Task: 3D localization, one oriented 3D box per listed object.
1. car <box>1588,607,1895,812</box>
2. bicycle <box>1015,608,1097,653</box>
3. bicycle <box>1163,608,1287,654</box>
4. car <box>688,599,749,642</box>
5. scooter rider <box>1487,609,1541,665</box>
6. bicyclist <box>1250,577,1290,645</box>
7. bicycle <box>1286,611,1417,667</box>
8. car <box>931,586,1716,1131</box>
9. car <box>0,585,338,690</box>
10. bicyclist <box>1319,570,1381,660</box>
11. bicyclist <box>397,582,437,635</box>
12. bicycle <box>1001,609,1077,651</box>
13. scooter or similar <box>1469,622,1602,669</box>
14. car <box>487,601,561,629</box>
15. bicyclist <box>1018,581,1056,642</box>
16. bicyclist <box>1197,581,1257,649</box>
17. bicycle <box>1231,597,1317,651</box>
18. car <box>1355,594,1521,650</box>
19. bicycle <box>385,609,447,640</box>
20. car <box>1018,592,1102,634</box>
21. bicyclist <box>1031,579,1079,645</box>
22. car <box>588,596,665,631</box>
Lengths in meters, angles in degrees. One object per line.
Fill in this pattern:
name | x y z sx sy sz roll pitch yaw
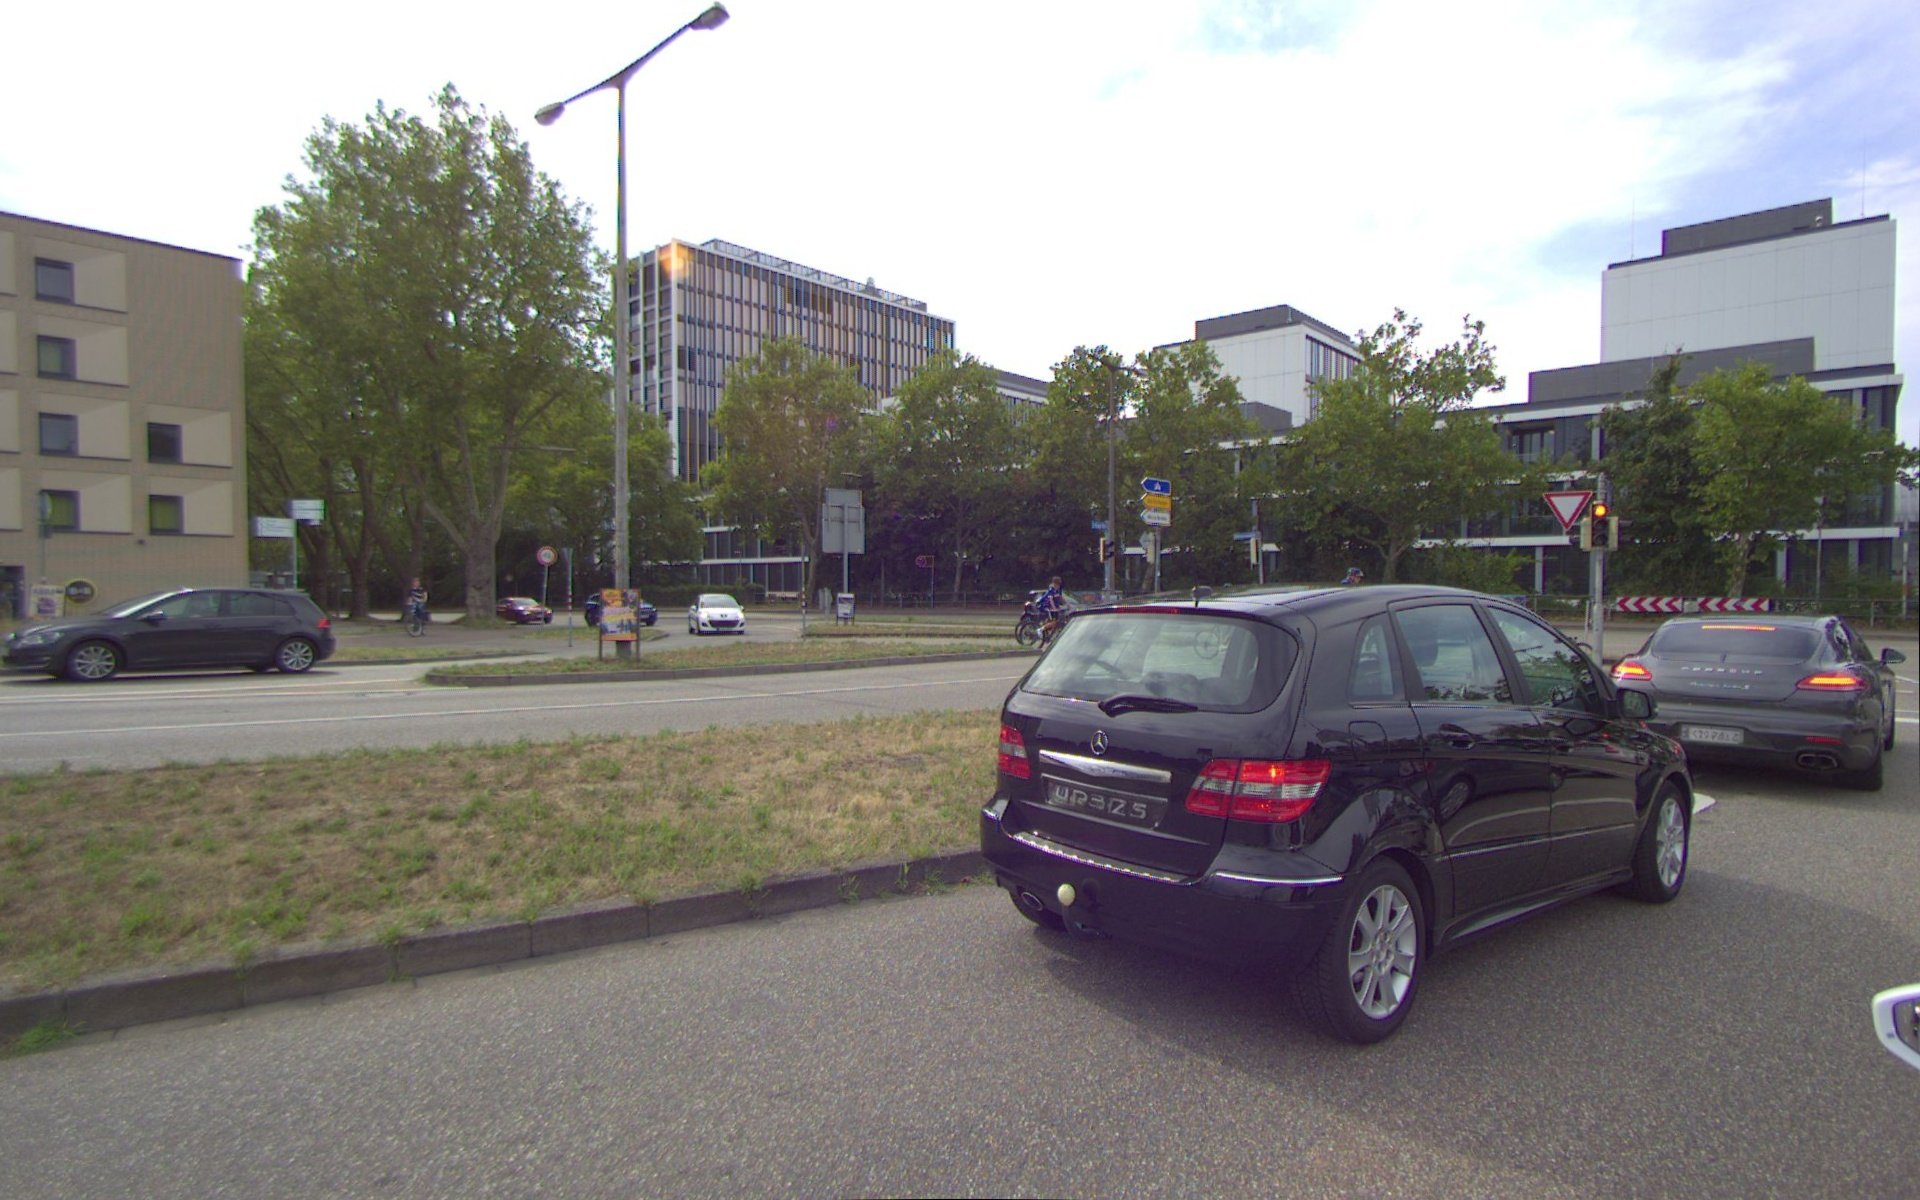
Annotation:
car | 7.712 0.821 9.702 1.800 1.433 4.746 2 1 44
bicycle | 2.302 0.718 24.116 1.871 1.027 0.628 1 1 25
bicycle | 5.748 0.644 21.887 2.551 0.902 0.702 1 1 38
car | -9.019 0.731 37.342 1.705 1.464 3.858 1 0 -21
scooter rider | 11.781 0.771 21.361 0.902 1.152 0.806 1 1 36
bicyclist | 7.510 0.258 24.331 0.768 1.602 0.653 1 1 32
bicycle | 7.512 0.721 19.346 2.203 0.965 0.807 1 0 42
car | 1.973 0.740 4.893 4.000 1.596 1.743 -1 2 -38
car | -12.506 0.528 16.067 1.767 1.438 3.990 1 0 33
bicyclist | 7.517 0.278 19.340 0.871 1.678 0.807 1 1 42
bicyclist | -17.233 0.259 31.902 0.727 1.636 0.921 1 0 3
bicycle | 2.039 0.769 26.117 1.871 1.027 0.628 1 1 24
scooter or similar | 12.085 0.935 21.137 2.347 0.861 0.805 1 1 36
car | -23.792 0.798 54.742 4.147 1.399 1.942 1 0 37
bicyclist | 2.002 0.291 26.130 0.825 1.550 0.628 1 1 24
bicyclist | 5.808 0.313 21.841 1.100 1.456 0.645 0 1 38
bicycle | 7.583 0.563 24.302 1.874 1.226 0.641 1 1 32
car | 13.751 0.598 29.031 4.012 1.470 1.693 1 1 42
bicycle | -17.234 0.774 31.872 0.727 0.921 2.120 1 0 3
car | 3.631 0.442 36.505 2.678 1.441 1.492 1 1 40
bicyclist | 2.280 0.282 24.113 1.000 1.560 0.628 1 1 25
car | -16.052 0.630 48.225 1.935 1.581 4.409 1 0 -41
